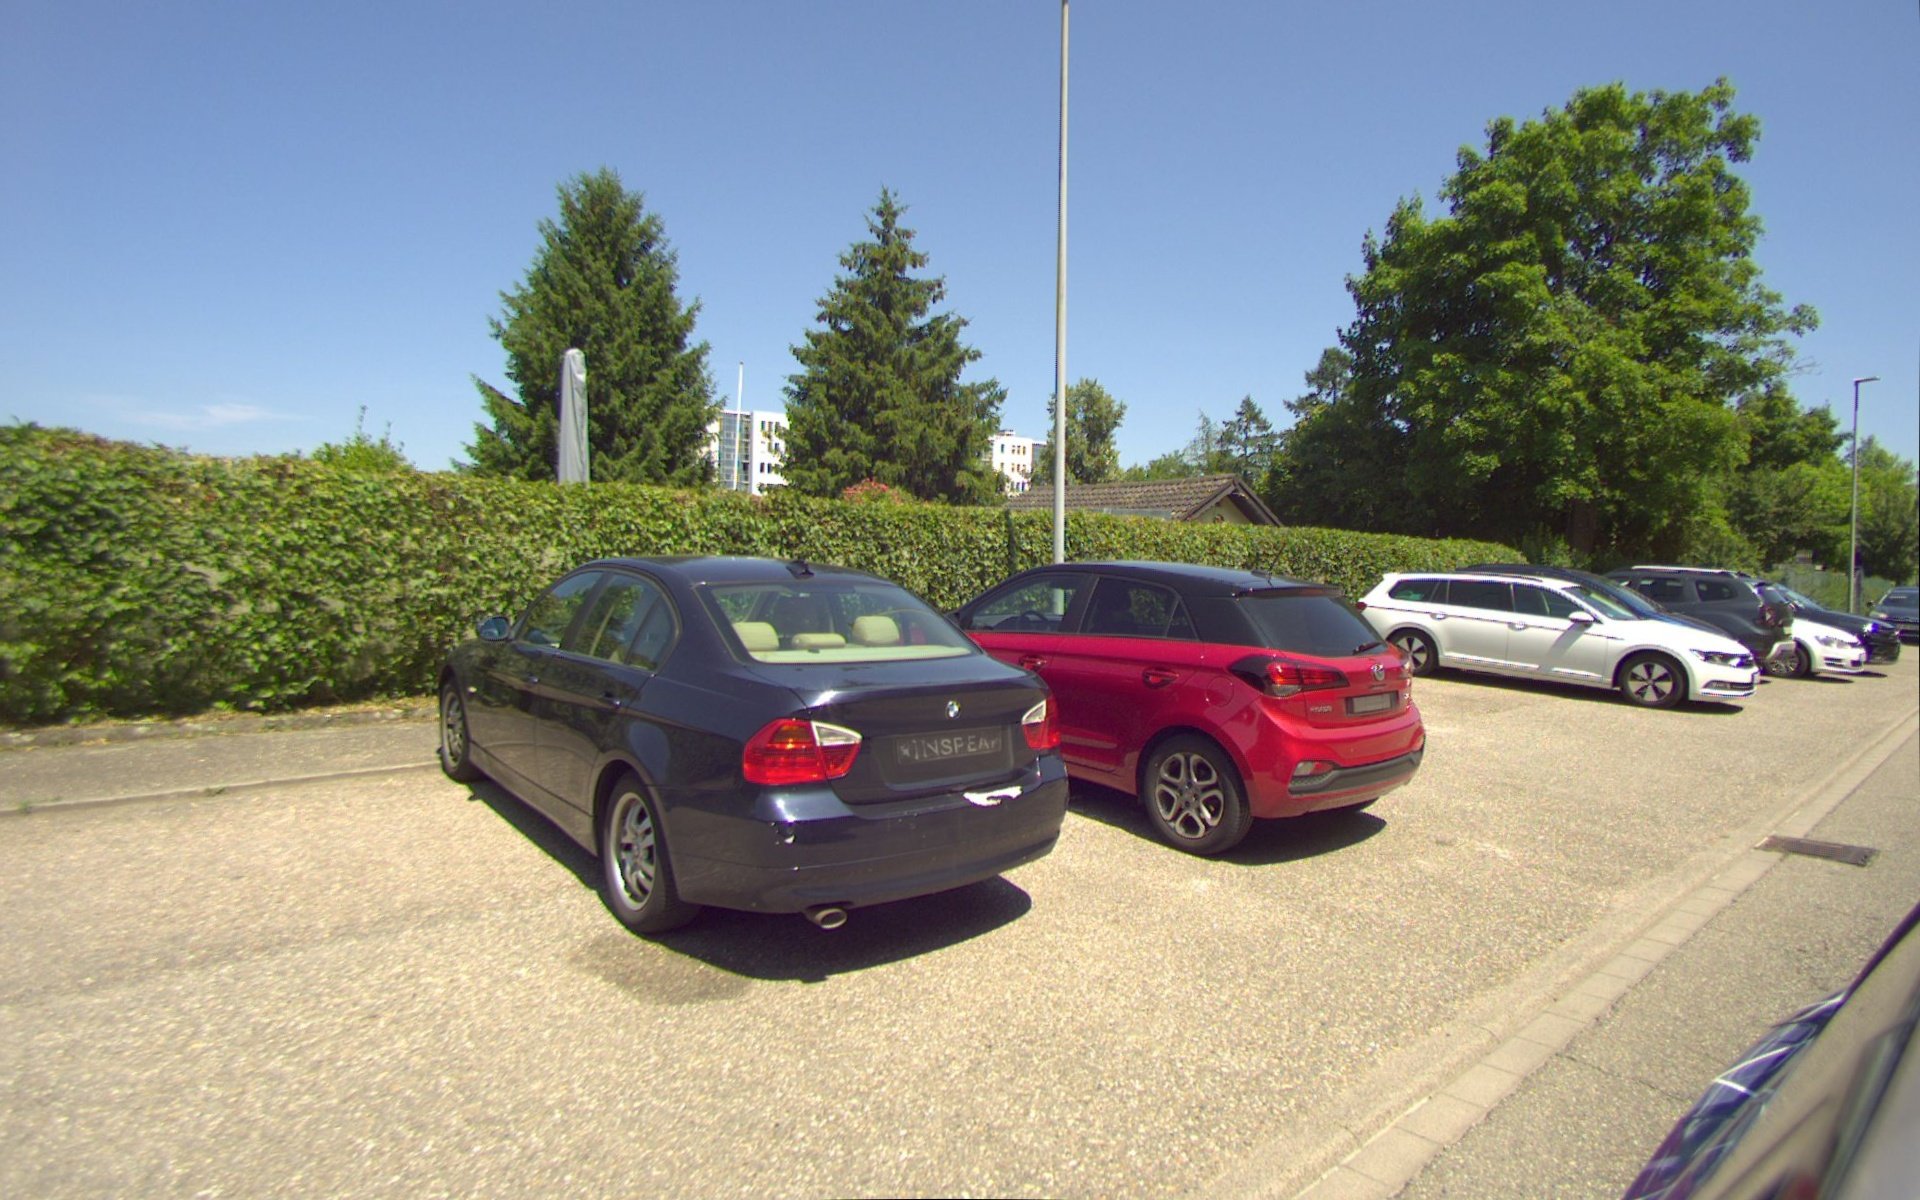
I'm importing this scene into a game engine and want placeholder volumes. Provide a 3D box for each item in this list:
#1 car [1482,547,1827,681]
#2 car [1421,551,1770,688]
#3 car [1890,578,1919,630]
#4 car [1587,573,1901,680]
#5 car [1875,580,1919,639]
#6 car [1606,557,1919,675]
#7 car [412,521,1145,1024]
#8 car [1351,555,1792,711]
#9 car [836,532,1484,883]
[{"bbox_3d":[11.236,0.108,16.640,1.821,1.718,4.269,0,5,-40],"label":"car"},{"bbox_3d":[9.375,0.172,15.183,1.729,1.567,4.056,-1,5,-43],"label":"car"},{"bbox_3d":[31.752,0.146,33.050,4.062,1.623,1.791,0,2,-44],"label":"car"},{"bbox_3d":[13.516,0.366,17.631,1.800,1.470,4.005,0,4,-41],"label":"car"},{"bbox_3d":[27.007,0.256,28.246,4.588,1.499,1.792,-1,5,-44],"label":"car"},{"bbox_3d":[15.327,0.198,19.446,1.881,1.724,4.481,0,6,-41],"label":"car"},{"bbox_3d":[-1.312,0.392,5.218,1.809,1.405,4.214,0,5,-41],"label":"car"},{"bbox_3d":[7.809,0.277,13.286,1.929,1.456,4.564,-1,5,-44],"label":"car"},{"bbox_3d":[1.032,0.396,6.757,1.812,1.496,3.930,0,5,-40],"label":"car"}]
